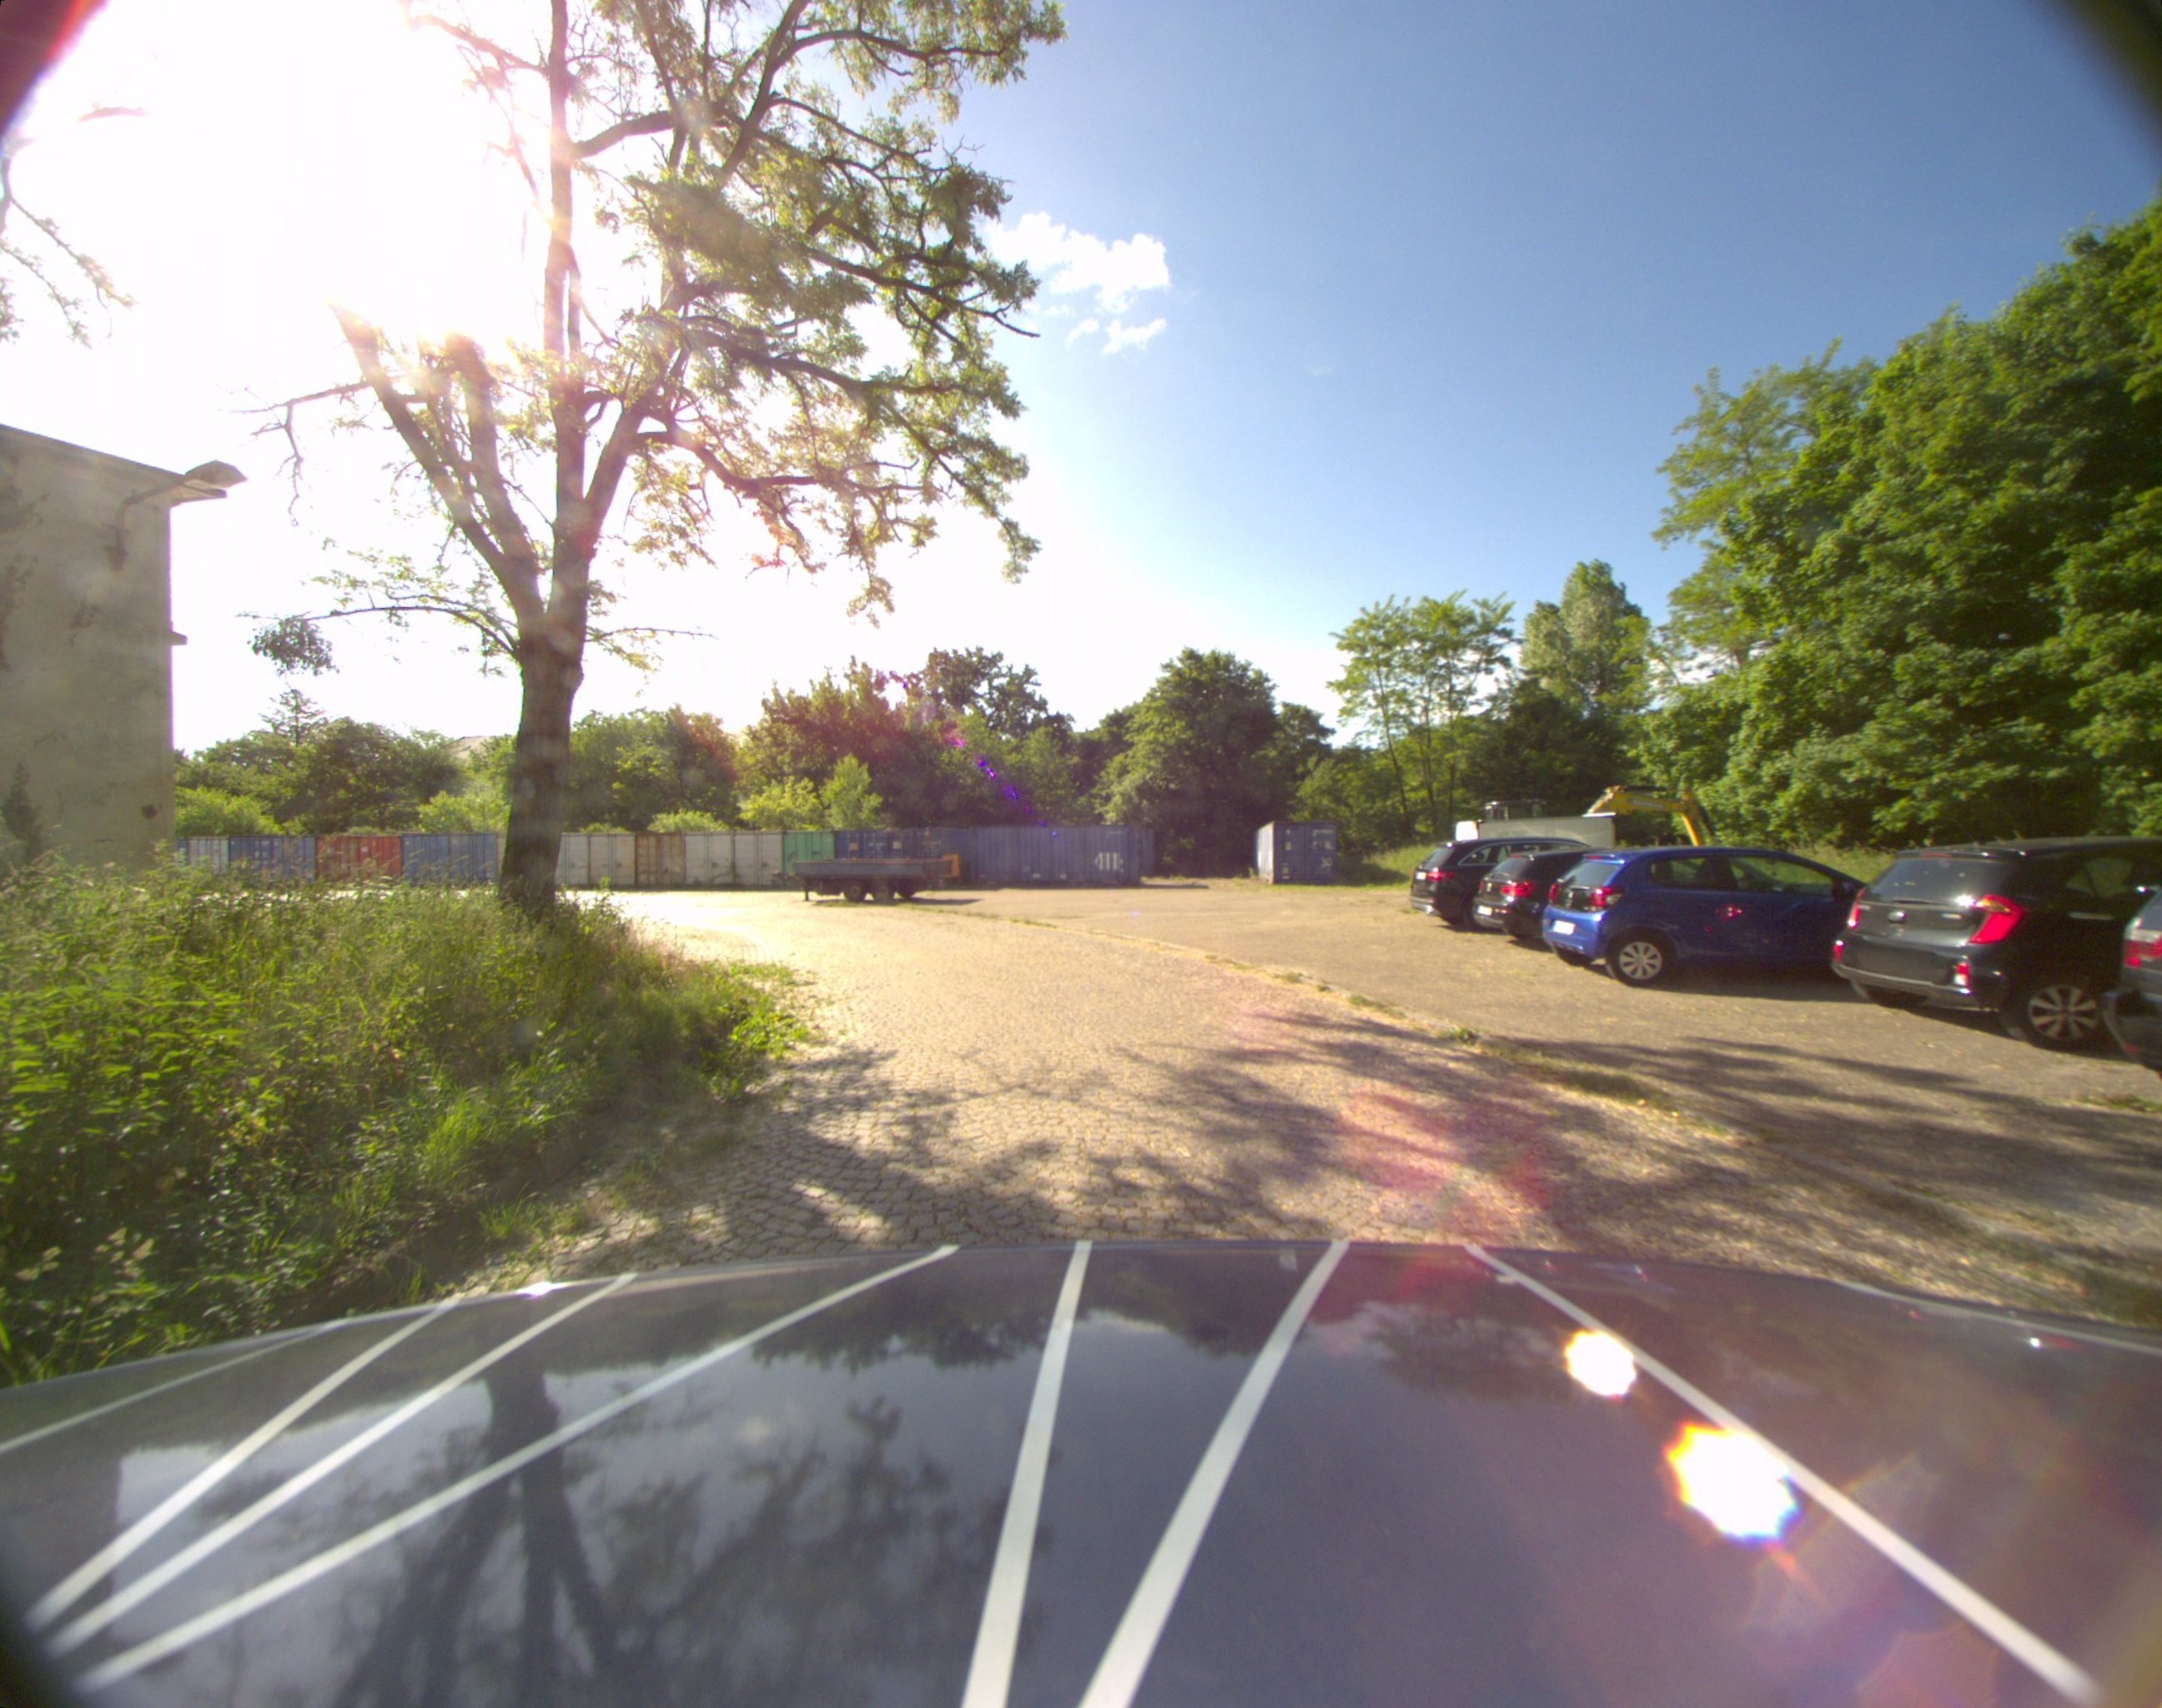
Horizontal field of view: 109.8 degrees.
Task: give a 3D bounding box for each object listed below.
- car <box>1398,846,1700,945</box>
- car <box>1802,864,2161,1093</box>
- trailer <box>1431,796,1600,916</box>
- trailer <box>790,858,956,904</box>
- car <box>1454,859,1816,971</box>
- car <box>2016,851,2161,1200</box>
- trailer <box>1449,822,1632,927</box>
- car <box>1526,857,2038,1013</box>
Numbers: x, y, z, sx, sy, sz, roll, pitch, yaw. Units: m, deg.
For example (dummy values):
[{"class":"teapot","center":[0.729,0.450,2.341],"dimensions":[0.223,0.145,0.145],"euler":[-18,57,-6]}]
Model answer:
[{"class":"car","center":[8.052,0.696,13.496],"dimensions":[4.125,1.580,1.972],"euler":[-1,1,10]},{"class":"car","center":[8.204,0.836,5.666],"dimensions":[3.717,1.443,1.746],"euler":[-1,1,15]},{"class":"trailer","center":[10.267,0.058,18.228],"dimensions":[2.846,2.524,2.267],"euler":[-4,0,11]},{"class":"trailer","center":[-7.065,0.884,26.200],"dimensions":[4.854,1.406,2.651],"euler":[0,1,10]},{"class":"car","center":[7.735,0.836,11.008],"dimensions":[3.784,1.403,1.896],"euler":[-1,1,10]},{"class":"car","center":[7.131,0.736,2.914],"dimensions":[4.267,1.621,1.882],"euler":[-3,1,10]},{"class":"trailer","center":[9.584,0.417,16.065],"dimensions":[2.845,2.039,1.825],"euler":[-1,1,11]},{"class":"car","center":[7.335,0.816,8.396],"dimensions":[3.784,1.450,1.787],"euler":[-1,1,11]}]
